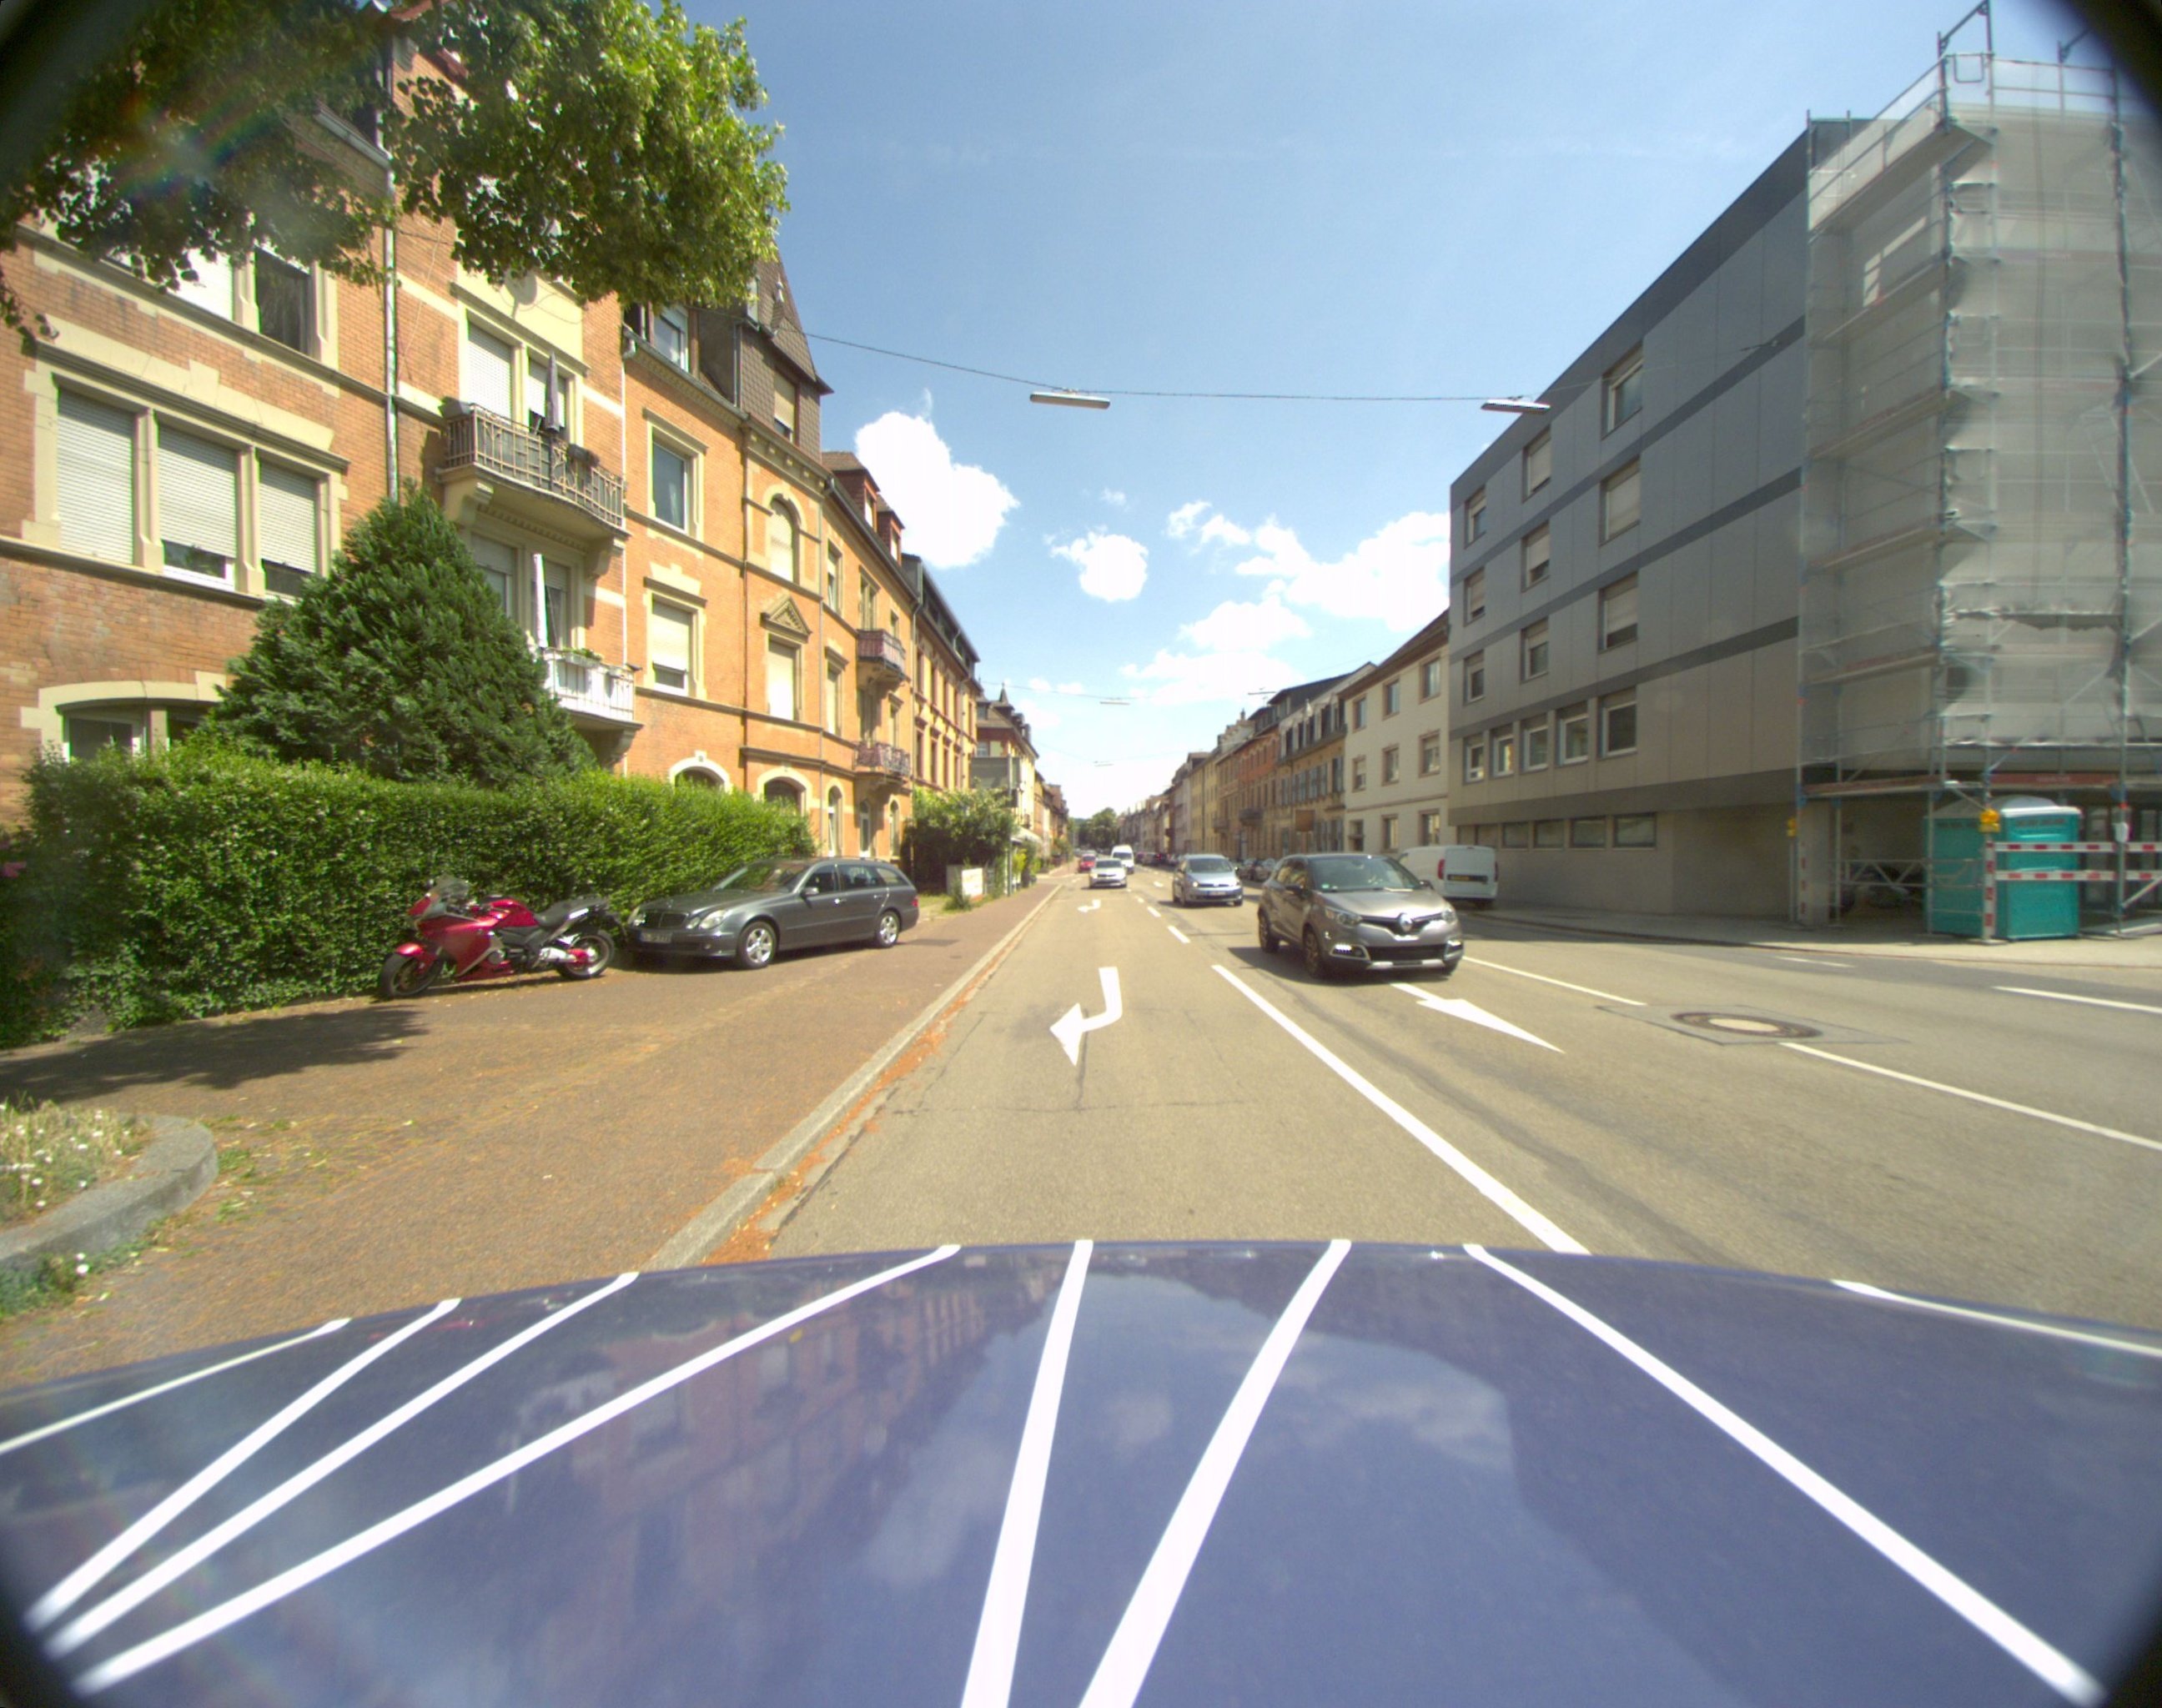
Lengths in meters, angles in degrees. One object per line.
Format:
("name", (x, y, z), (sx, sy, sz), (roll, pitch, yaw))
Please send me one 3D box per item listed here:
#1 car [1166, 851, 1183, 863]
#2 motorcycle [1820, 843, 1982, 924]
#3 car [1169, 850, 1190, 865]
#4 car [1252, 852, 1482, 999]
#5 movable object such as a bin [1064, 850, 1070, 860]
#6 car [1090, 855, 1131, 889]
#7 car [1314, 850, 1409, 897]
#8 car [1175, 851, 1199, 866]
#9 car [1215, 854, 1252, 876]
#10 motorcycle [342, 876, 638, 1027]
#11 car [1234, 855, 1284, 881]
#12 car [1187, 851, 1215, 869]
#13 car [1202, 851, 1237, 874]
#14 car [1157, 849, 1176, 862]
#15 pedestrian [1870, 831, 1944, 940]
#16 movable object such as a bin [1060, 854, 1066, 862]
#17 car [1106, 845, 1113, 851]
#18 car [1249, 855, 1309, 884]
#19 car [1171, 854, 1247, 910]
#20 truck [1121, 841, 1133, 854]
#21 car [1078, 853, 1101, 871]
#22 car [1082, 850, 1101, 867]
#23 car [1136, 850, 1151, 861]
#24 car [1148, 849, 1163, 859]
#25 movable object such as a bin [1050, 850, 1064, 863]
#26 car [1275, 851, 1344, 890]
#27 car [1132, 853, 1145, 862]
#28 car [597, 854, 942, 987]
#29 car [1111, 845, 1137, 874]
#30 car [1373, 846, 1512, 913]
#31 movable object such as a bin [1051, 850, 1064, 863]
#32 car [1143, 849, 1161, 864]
("car", (11.550, 0.373, 94.058), (1.749, 1.403, 3.915), (3, 1, 2))
("motorcycle", (15.913, 0.543, 14.837), (2.037, 1.463, 0.884), (-1, 1, 39))
("car", (11.533, 0.387, 89.056), (1.869, 1.542, 4.313), (3, 1, 1))
("car", (3.663, 0.804, 10.542), (1.758, 1.622, 4.000), (-1, 0, 2))
("movable object such as a bin", (-1.780, 0.174, 96.564), (0.753, 1.235, 0.877), (0, 1, 0))
("car", (1.407, 0.849, 37.079), (1.905, 1.489, 4.487), (0, 1, 1))
("car", (10.775, 0.679, 29.571), (1.890, 1.631, 4.662), (1, 1, -1))
("car", (11.507, 0.515, 82.524), (1.909, 1.443, 4.686), (3, 1, 1))
("car", (11.310, 0.775, 56.649), (1.869, 1.418, 4.330), (3, 1, 0))
("motorcycle", (-6.048, 0.904, 7.996), (0.931, 1.295, 2.285), (1, 0, 22))
("car", (11.197, 0.822, 48.033), (1.870, 1.398, 4.329), (3, 1, -3))
("car", (11.549, 0.566, 73.535), (1.870, 1.542, 4.499), (3, 1, -1))
("car", (11.238, 0.673, 61.858), (1.870, 1.618, 4.499), (3, 1, -1))
("car", (11.365, 0.181, 100.582), (1.746, 1.579, 3.958), (4, 1, 16))
("pedestrian", (14.324, 0.522, 13.181), (0.791, 1.822, 0.706), (-1, 1, -28))
("movable object such as a bin", (-1.974, 0.443, 84.978), (0.626, 0.923, 0.612), (0, 1, 0))
("car", (7.899, -1.678, 208.747), (1.708, 1.470, 3.930), (-2, 1, 0))
("car", (11.075, 0.831, 42.796), (1.870, 1.398, 4.836), (3, 1, -2))
("car", (3.903, 0.789, 23.709), (1.758, 1.559, 4.000), (-1, 0, 1))
("truck", (10.487, -1.475, 173.999), (2.323, 2.725, 8.067), (0, 1, 0))
("car", (0.695, 0.654, 66.257), (1.762, 1.470, 3.782), (-2, 1, -2))
("car", (1.057, 0.434, 76.978), (1.761, 1.542, 4.066), (-2, 1, 2))
("car", (8.158, 0.177, 99.418), (1.706, 1.469, 4.133), (1, 0, 1))
("car", (12.178, -0.025, 124.262), (1.749, 1.403, 4.103), (3, 1, -2))
("movable object such as a bin", (-2.504, 0.266, 79.311), (1.285, 1.388, 1.413), (0, 1, 2))
("car", (10.722, 0.731, 35.970), (1.889, 1.631, 4.817), (1, 1, 1))
("car", (9.029, 0.546, 119.953), (1.764, 1.486, 4.245), (1, 0, 0))
("car", (-4.300, 0.814, 11.641), (1.836, 1.539, 5.165), (1, -1, 21))
("car", (3.419, 0.397, 61.079), (1.904, 2.261, 5.672), (0, 1, 2))
("car", (10.917, 0.671, 23.436), (1.919, 1.815, 4.787), (1, 1, -1))
("movable object such as a bin", (-2.492, 0.226, 80.727), (1.285, 1.388, 1.364), (0, 1, 2))
("car", (8.194, 0.272, 87.575), (1.706, 1.565, 4.312), (1, 0, 1))
